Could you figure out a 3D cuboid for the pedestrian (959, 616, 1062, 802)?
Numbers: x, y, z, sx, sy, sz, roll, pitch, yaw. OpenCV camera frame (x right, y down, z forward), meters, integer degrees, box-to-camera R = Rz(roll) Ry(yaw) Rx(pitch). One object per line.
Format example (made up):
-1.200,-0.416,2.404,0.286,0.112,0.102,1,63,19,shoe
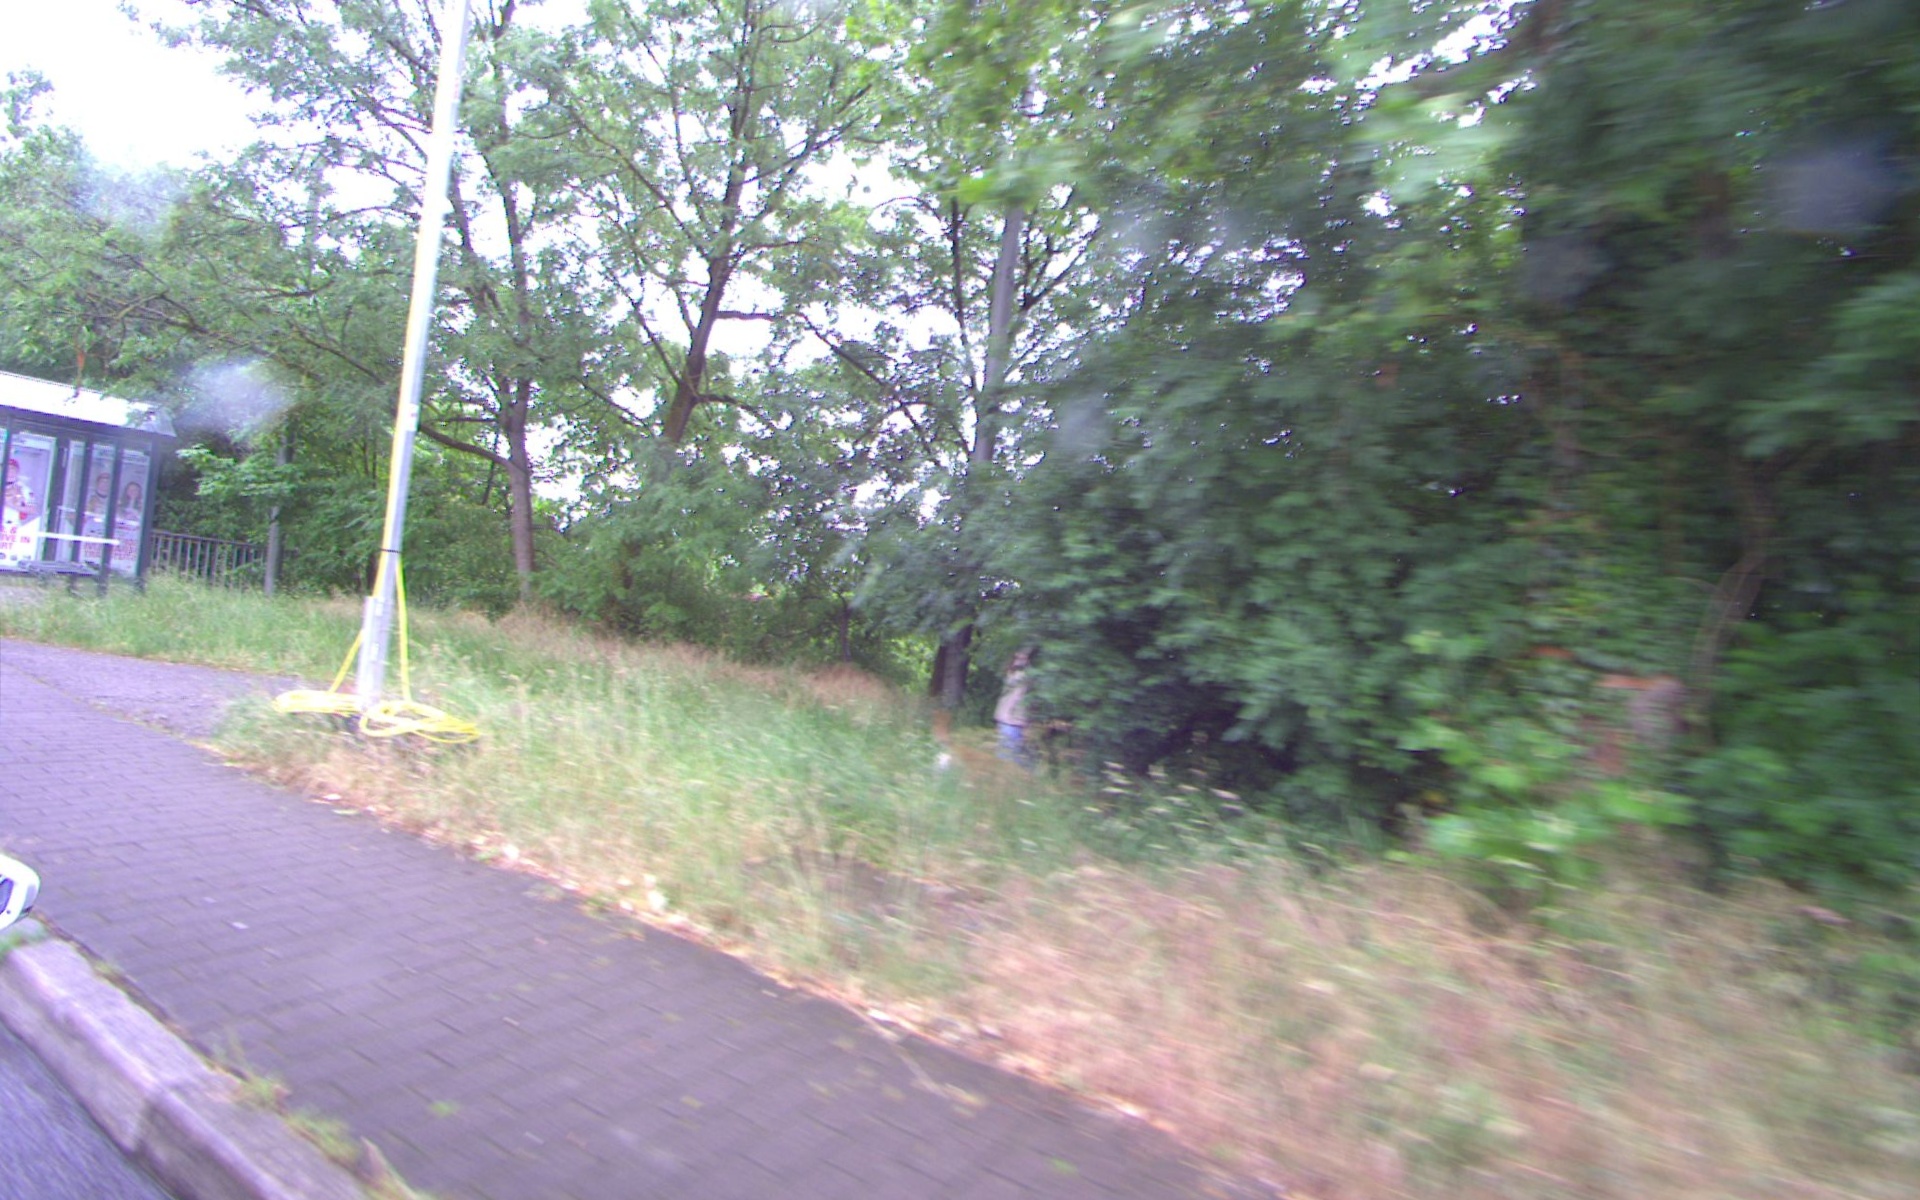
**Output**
0.464,1.010,9.577,0.738,1.622,0.733,7,-1,-2,pedestrian
